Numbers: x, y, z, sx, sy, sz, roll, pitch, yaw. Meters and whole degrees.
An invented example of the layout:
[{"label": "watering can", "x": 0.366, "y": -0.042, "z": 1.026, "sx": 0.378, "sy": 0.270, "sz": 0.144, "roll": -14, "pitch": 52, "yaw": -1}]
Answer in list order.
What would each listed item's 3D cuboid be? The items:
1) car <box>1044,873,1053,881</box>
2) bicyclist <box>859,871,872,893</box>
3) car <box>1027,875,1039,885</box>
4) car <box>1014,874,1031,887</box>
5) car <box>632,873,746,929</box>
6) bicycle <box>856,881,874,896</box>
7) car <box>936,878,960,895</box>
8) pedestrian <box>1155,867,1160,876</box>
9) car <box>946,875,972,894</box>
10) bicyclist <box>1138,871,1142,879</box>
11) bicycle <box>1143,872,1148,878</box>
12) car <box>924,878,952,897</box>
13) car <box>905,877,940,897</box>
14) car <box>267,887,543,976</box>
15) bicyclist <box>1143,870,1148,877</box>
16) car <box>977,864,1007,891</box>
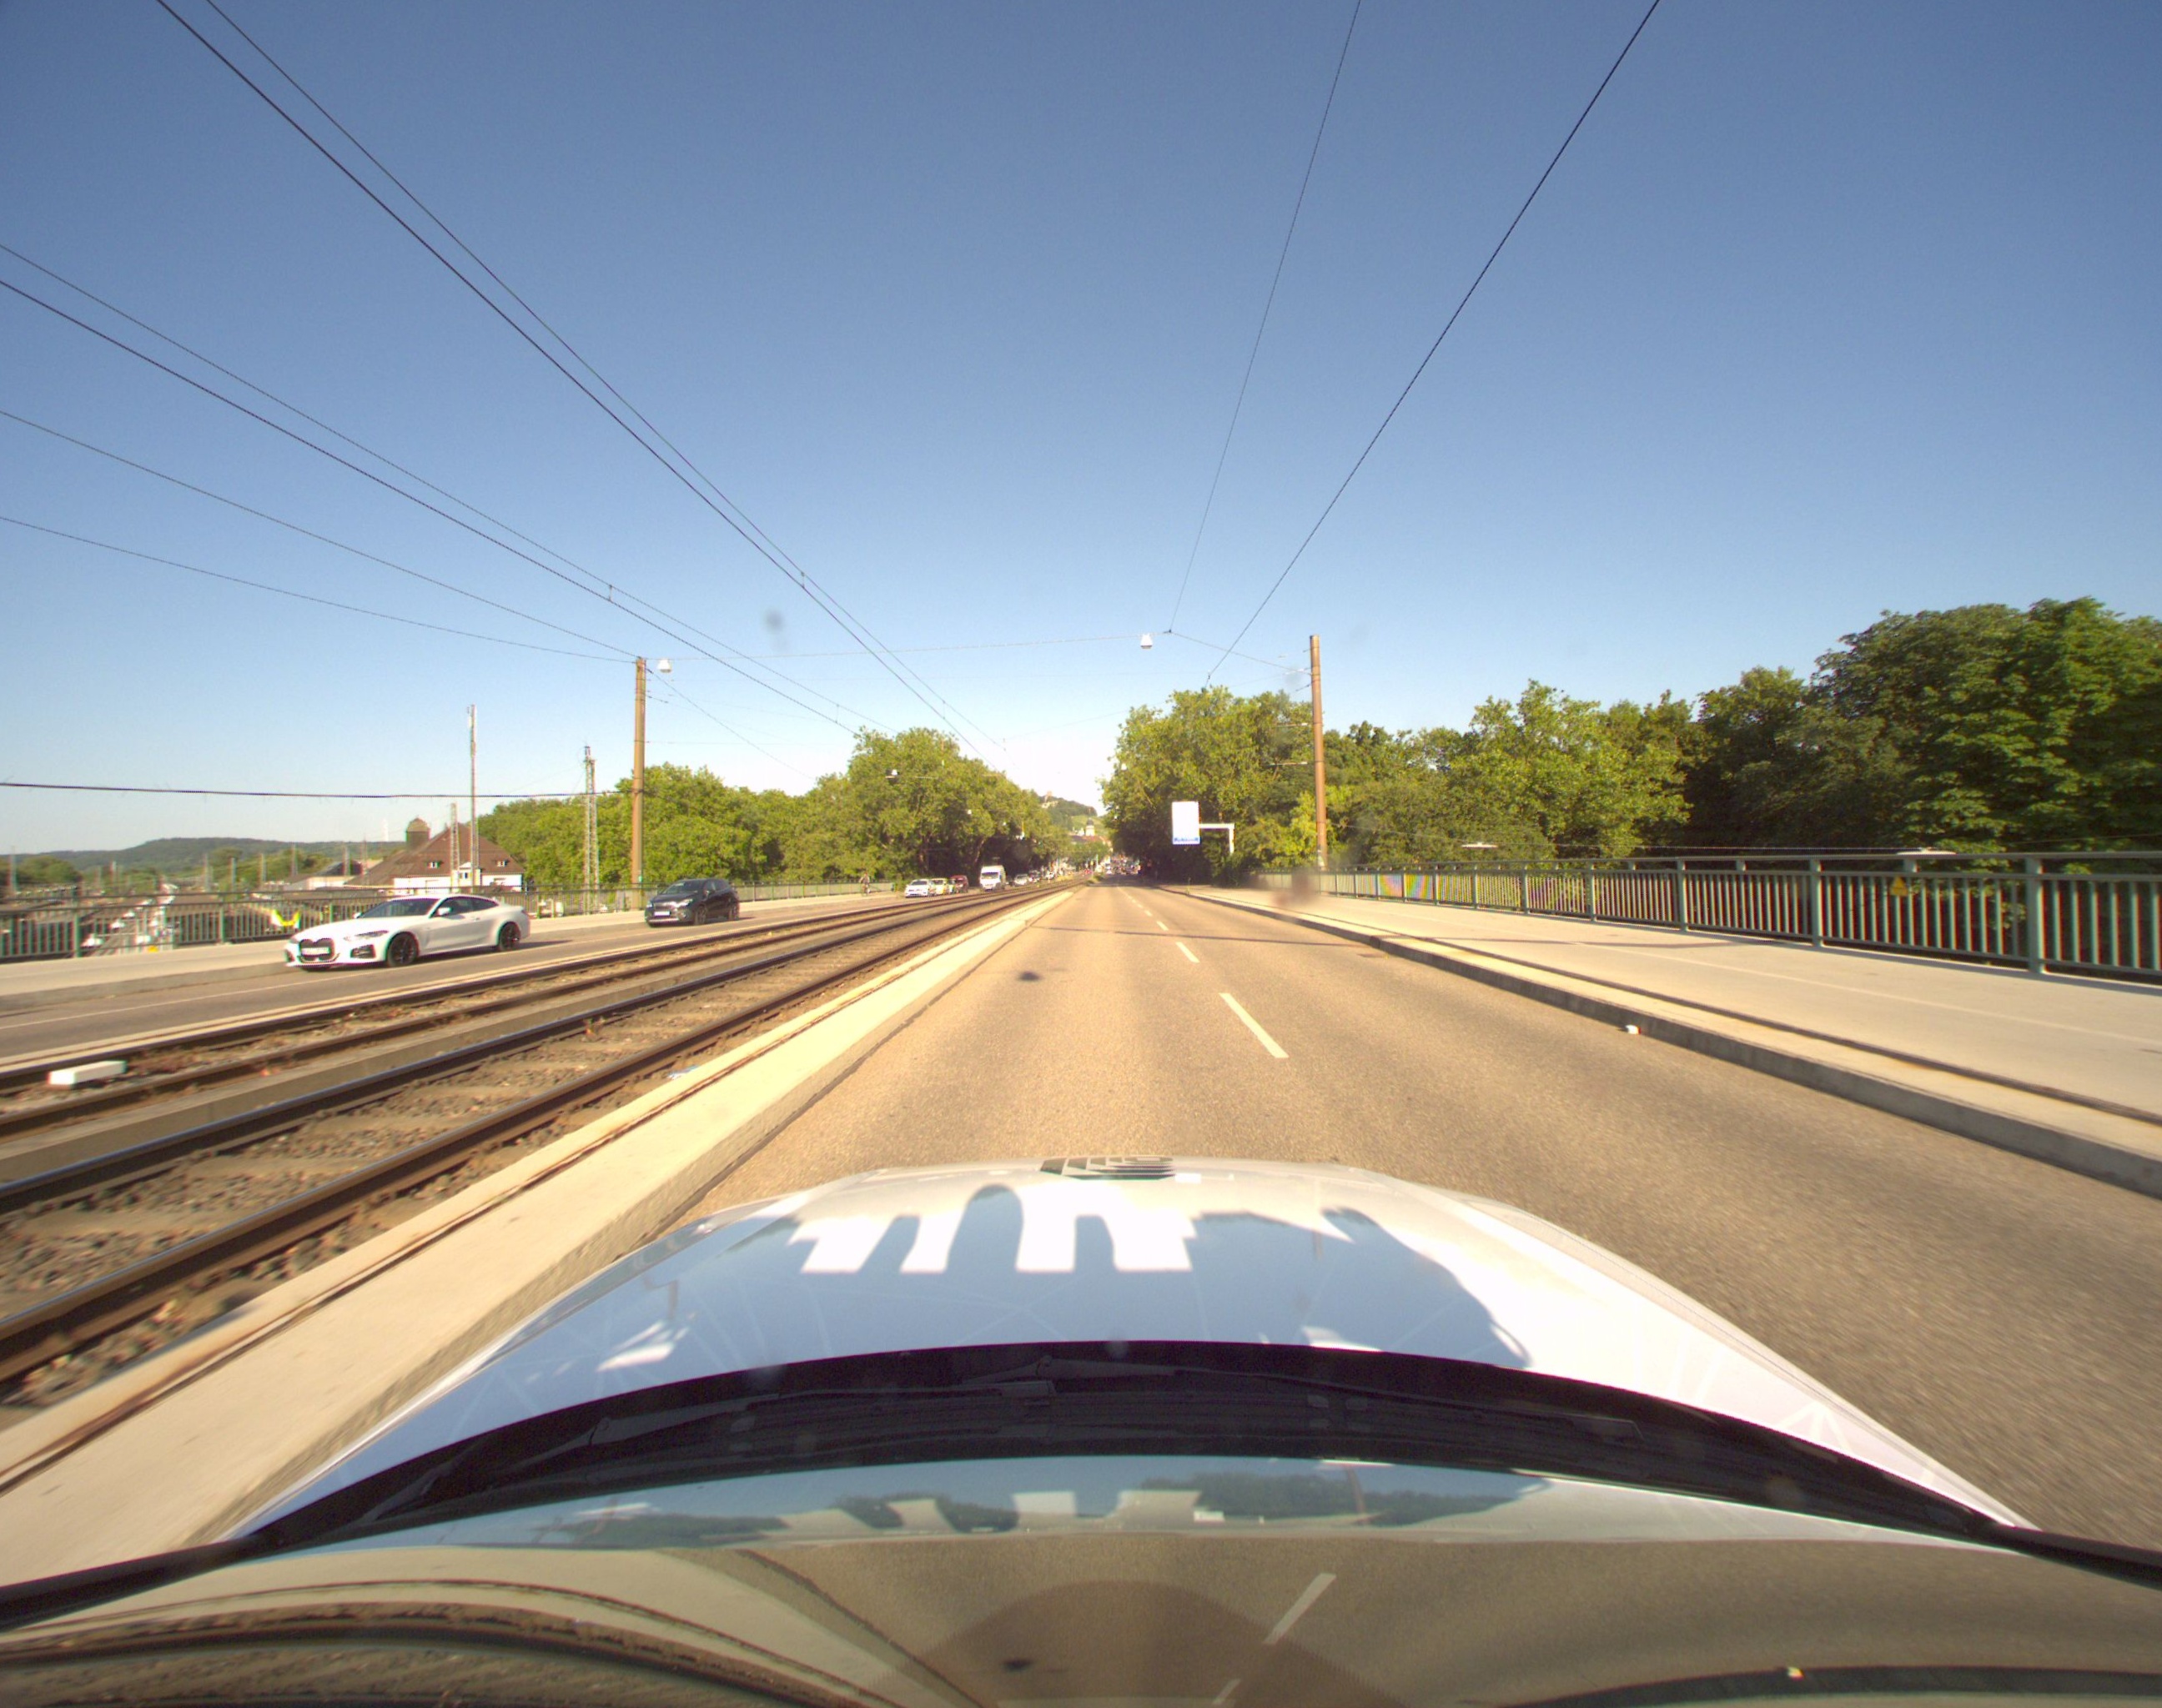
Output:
[{"label": "car", "x": -8.079, "y": 5.756, "z": 203.193, "sx": 1.987, "sy": 1.844, "sz": 5.299, "roll": -4, "pitch": -1, "yaw": -1}, {"label": "bicyclist", "x": -15.928, "y": 2.072, "z": 60.131, "sx": 0.677, "sy": 1.627, "sz": 0.890, "roll": 0, "pitch": -1, "yaw": 2}, {"label": "car", "x": -8.242, "y": 4.529, "z": 141.211, "sx": 1.736, "sy": 1.623, "sz": 4.393, "roll": -4, "pitch": -1, "yaw": 0}, {"label": "car", "x": -8.386, "y": 3.794, "z": 116.205, "sx": 1.866, "sy": 1.665, "sz": 4.599, "roll": -2, "pitch": -1, "yaw": 2}, {"label": "car", "x": -13.749, "y": 1.601, "z": 28.878, "sx": 1.773, "sy": 1.650, "sz": 4.448, "roll": -1, "pitch": 0, "yaw": 1}, {"label": "bicycle", "x": -15.931, "y": 2.546, "z": 60.194, "sx": 0.677, "sy": 1.098, "sz": 2.101, "roll": 0, "pitch": -1, "yaw": 2}, {"label": "car", "x": -12.489, "y": 3.079, "z": 76.716, "sx": 1.628, "sy": 1.451, "sz": 4.000, "roll": -2, "pitch": -1, "yaw": -1}, {"label": "pedestrian", "x": 13.209, "y": 2.988, "z": 140.472, "sx": 0.800, "sy": 1.546, "sz": 0.815, "roll": -2, "pitch": -2, "yaw": 5}, {"label": "car", "x": -12.272, "y": 3.030, "z": 82.097, "sx": 1.735, "sy": 1.754, "sz": 4.685, "roll": -2, "pitch": -1, "yaw": 1}, {"label": "bicyclist", "x": 13.680, "y": 4.954, "z": 189.507, "sx": 0.884, "sy": 1.775, "sz": 1.222, "roll": -2, "pitch": -2, "yaw": 1}, {"label": "bicycle", "x": 14.244, "y": 4.553, "z": 179.404, "sx": 0.883, "sy": 1.321, "sz": 2.640, "roll": -2, "pitch": -2, "yaw": 2}, {"label": "car", "x": -12.519, "y": 2.910, "z": 71.338, "sx": 1.627, "sy": 1.531, "sz": 3.791, "roll": -2, "pitch": -1, "yaw": 1}, {"label": "car", "x": -12.669, "y": 2.620, "z": 65.477, "sx": 1.736, "sy": 1.464, "sz": 4.955, "roll": -1, "pitch": -1, "yaw": 1}, {"label": "car", "x": -14.056, "y": 1.524, "z": 17.432, "sx": 1.678, "sy": 1.356, "sz": 4.922, "roll": -1, "pitch": 0, "yaw": 1}, {"label": "bicyclist", "x": 14.244, "y": 4.296, "z": 179.606, "sx": 0.883, "sy": 1.638, "sz": 1.165, "roll": -2, "pitch": -2, "yaw": 2}, {"label": "car", "x": -8.963, "y": 2.361, "z": 82.538, "sx": 2.078, "sy": 2.593, "sz": 6.043, "roll": -1, "pitch": -1, "yaw": 2}]
